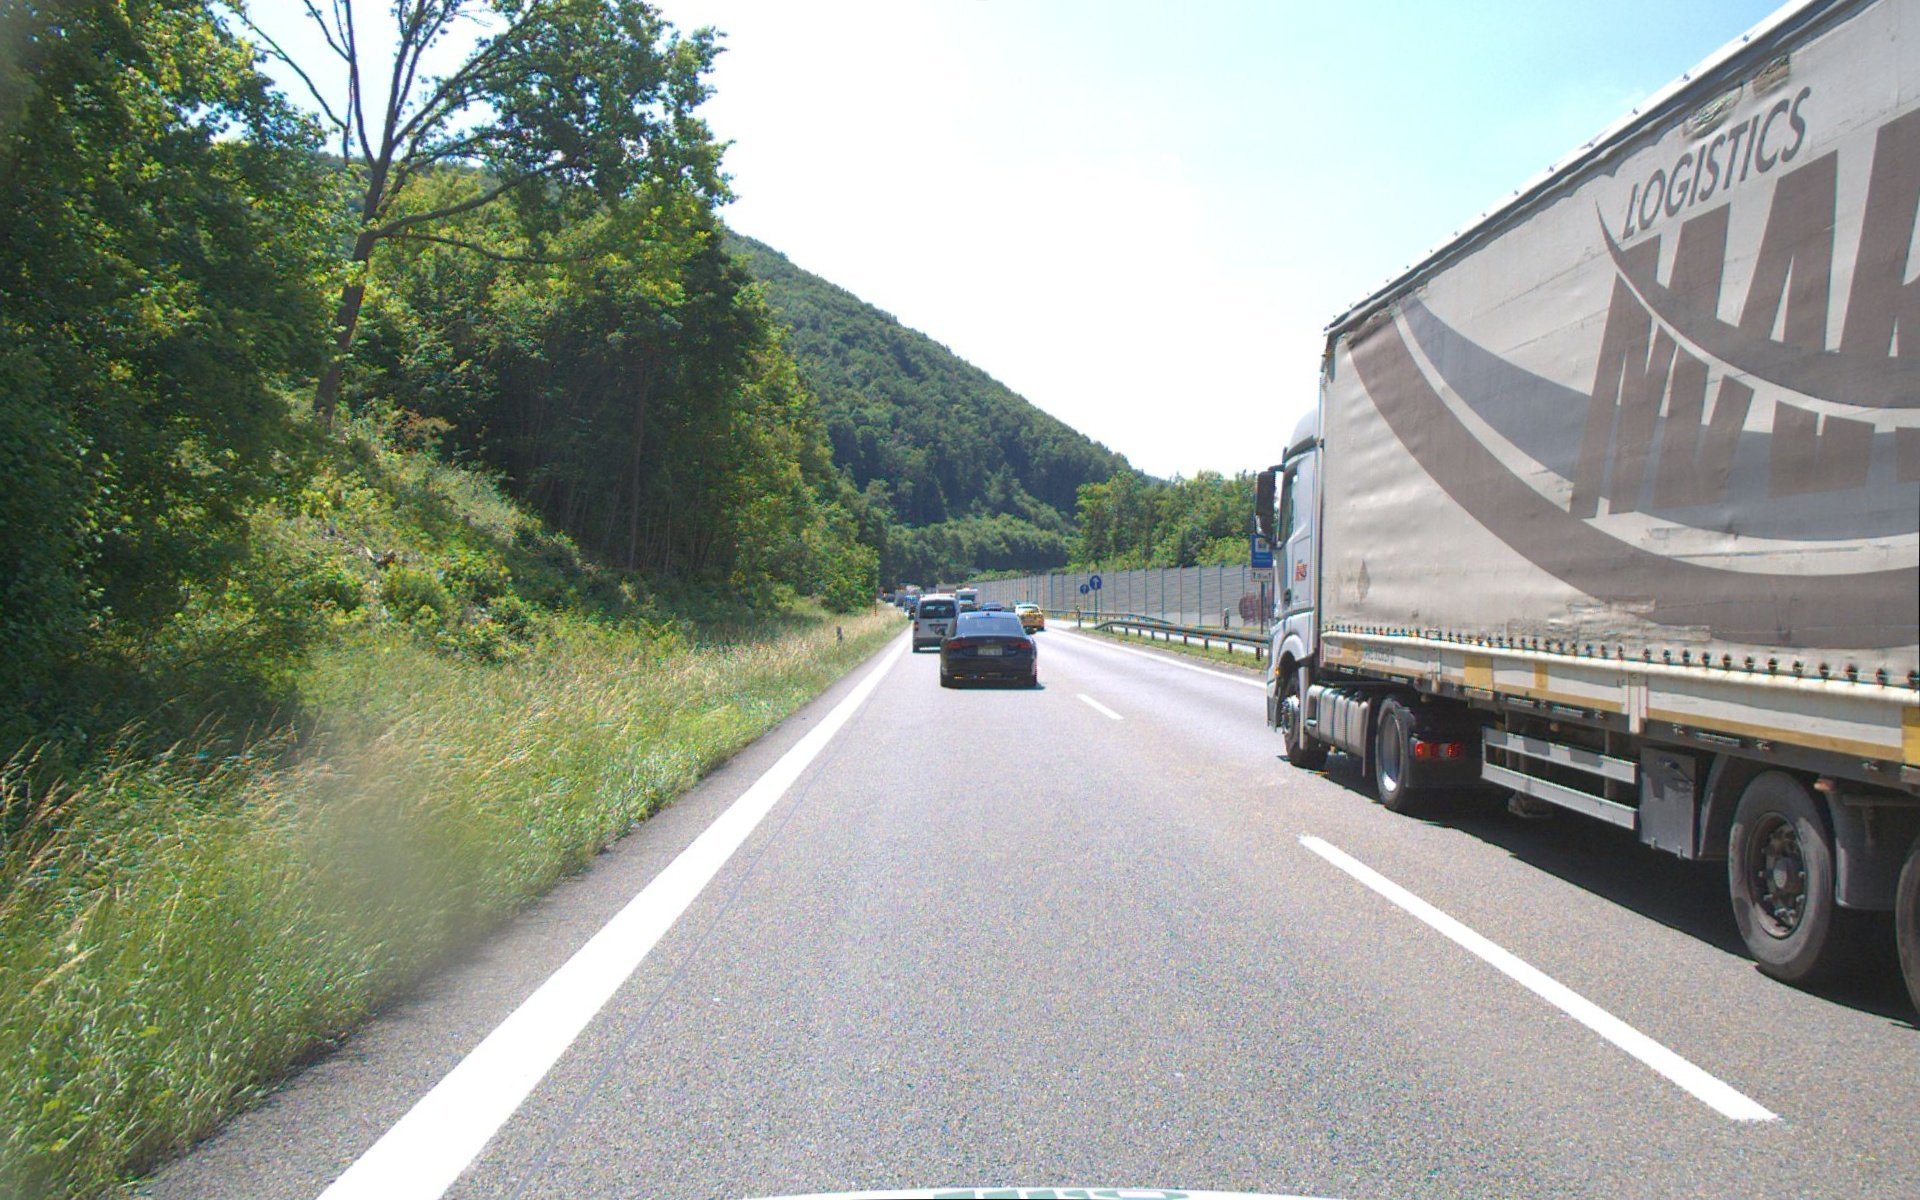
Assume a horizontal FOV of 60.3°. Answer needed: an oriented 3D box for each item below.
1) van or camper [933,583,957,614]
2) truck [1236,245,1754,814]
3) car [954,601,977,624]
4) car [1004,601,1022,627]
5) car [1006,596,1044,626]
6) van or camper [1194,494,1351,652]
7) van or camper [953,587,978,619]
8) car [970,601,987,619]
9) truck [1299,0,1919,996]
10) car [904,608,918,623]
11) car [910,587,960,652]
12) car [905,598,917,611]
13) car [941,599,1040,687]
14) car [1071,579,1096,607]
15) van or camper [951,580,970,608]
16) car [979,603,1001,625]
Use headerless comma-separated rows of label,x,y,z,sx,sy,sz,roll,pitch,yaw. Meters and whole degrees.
van or camper,-2.080,-0.176,221.457,2.739,3.975,6.163,3,-1,-3
truck,4.496,-0.484,15.242,2.664,4.139,5.752,2,-1,-1
car,0.507,1.226,160.014,2.044,2.049,3.999,3,-1,-1
car,5.220,1.418,163.470,1.499,2.444,3.596,3,-1,-1
car,3.554,0.615,91.089,1.841,1.525,3.999,2,0,-1
van or camper,8.492,-0.645,45.729,2.739,3.908,6.163,3,-1,-3
van or camper,0.594,0.352,174.225,2.380,3.210,5.202,3,-1,-1
car,2.272,1.252,203.482,1.953,2.049,3.999,3,-1,-1
truck,4.675,-0.597,8.282,2.671,4.139,13.736,2,-1,-1
car,-5.828,1.882,196.357,1.459,1.694,3.589,3,-1,-1
car,-0.861,0.660,55.760,1.490,2.002,3.513,4,-1,-1
car,-6.544,0.594,219.689,1.459,1.522,3.589,3,-1,-1
car,0.539,0.794,32.312,1.775,1.541,3.514,1,1,-1
car,9.318,-0.505,125.233,1.544,2.049,3.427,1,0,-1
van or camper,0.083,-0.812,238.461,2.399,3.753,6.586,3,-1,-1
car,2.239,1.070,124.147,1.499,1.551,3.596,3,-1,-1
